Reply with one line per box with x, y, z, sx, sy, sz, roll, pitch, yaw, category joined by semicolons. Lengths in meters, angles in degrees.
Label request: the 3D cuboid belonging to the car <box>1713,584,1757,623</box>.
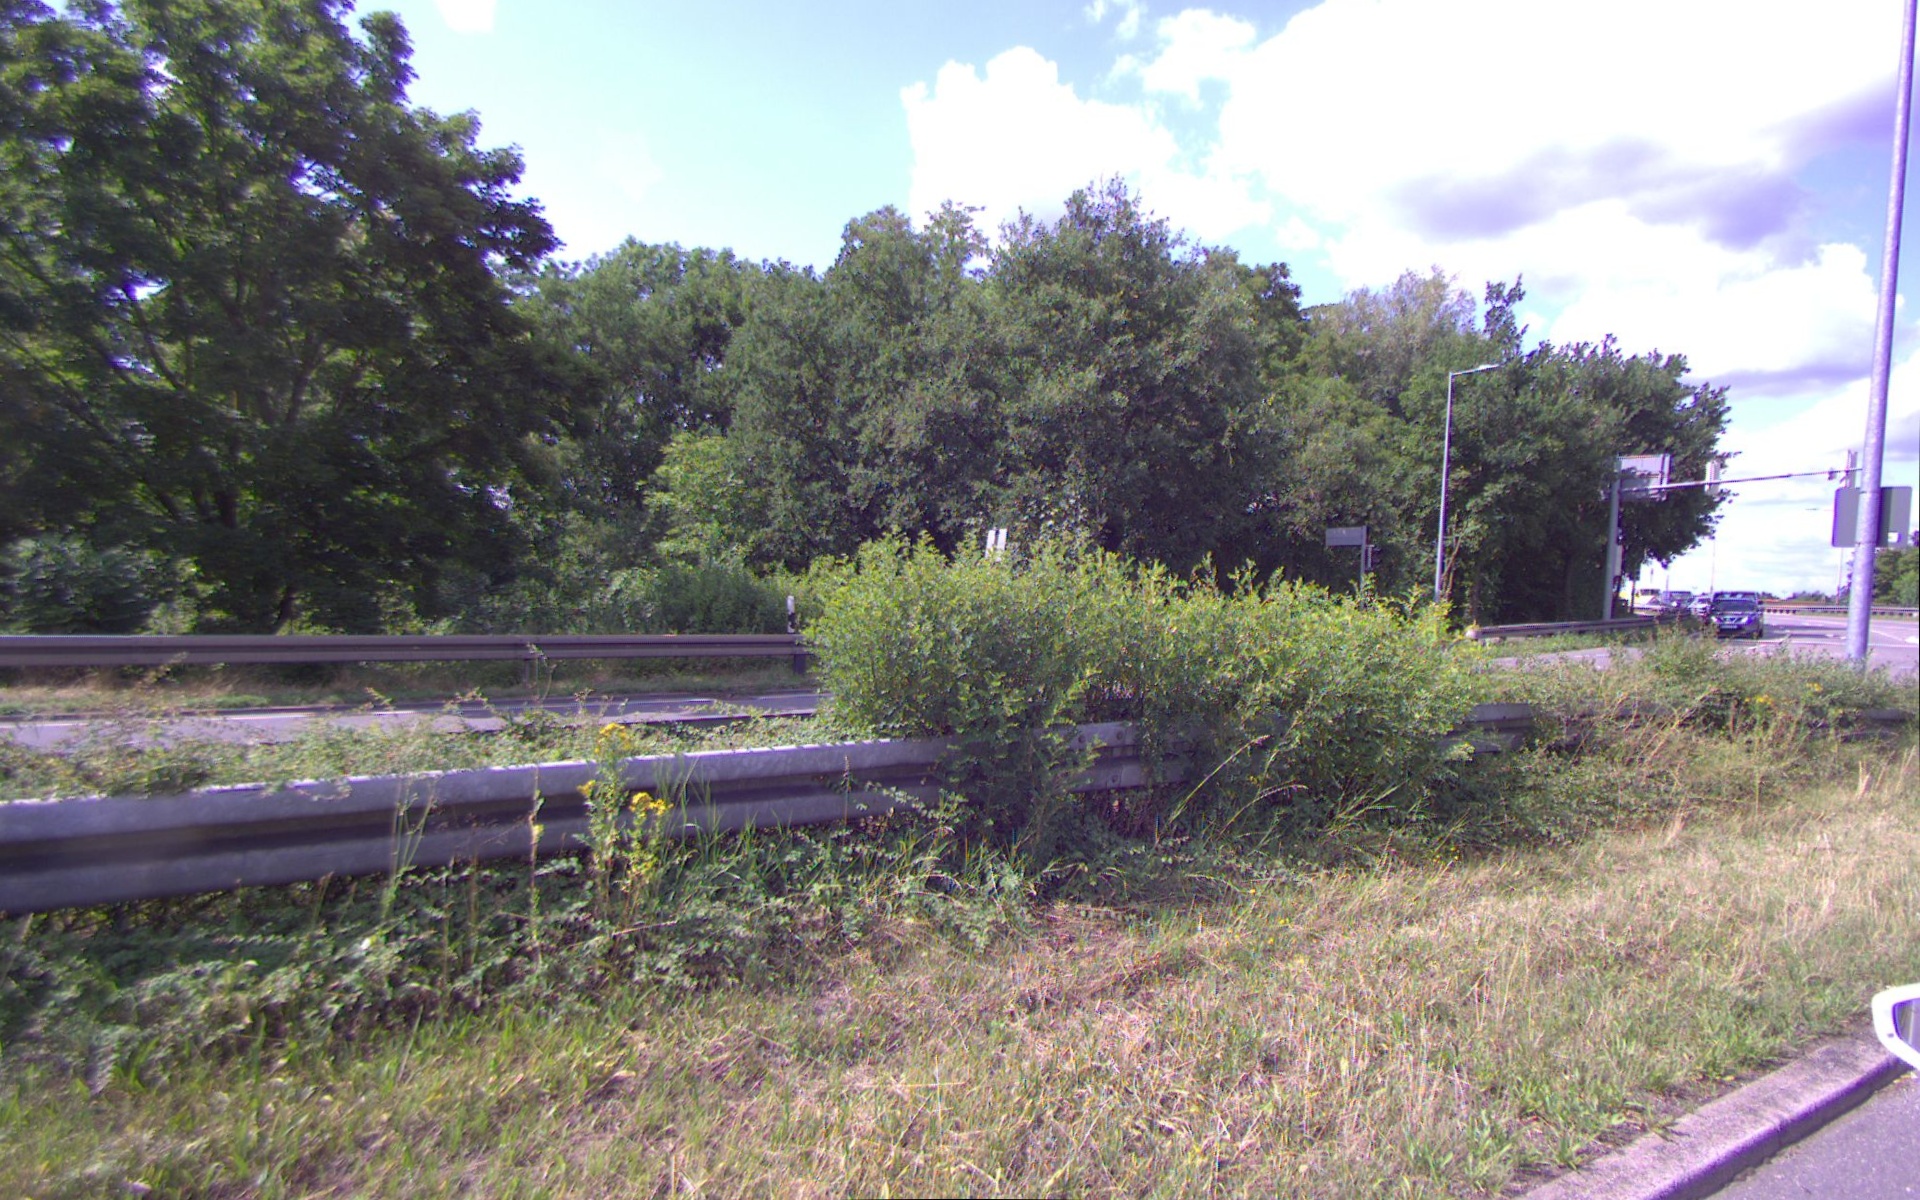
45.338;0.202;58.828;1.819;2.128;4.311;2;1;36;car

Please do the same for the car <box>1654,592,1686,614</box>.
58.227;0.221;82.388;1.817;1.728;4.316;2;1;31;car

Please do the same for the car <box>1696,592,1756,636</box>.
31.236;0.596;40.930;1.816;1.639;3.983;2;0;39;car

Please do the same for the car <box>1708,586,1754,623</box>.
40.457;0.225;52.674;1.820;1.826;4.308;2;1;39;car

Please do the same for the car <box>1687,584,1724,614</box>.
53.378;-0.066;71.955;1.818;2.005;4.314;2;1;33;car

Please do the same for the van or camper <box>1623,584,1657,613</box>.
65.041;-0.143;96.159;1.963;2.719;6.852;2;1;28;van or camper
